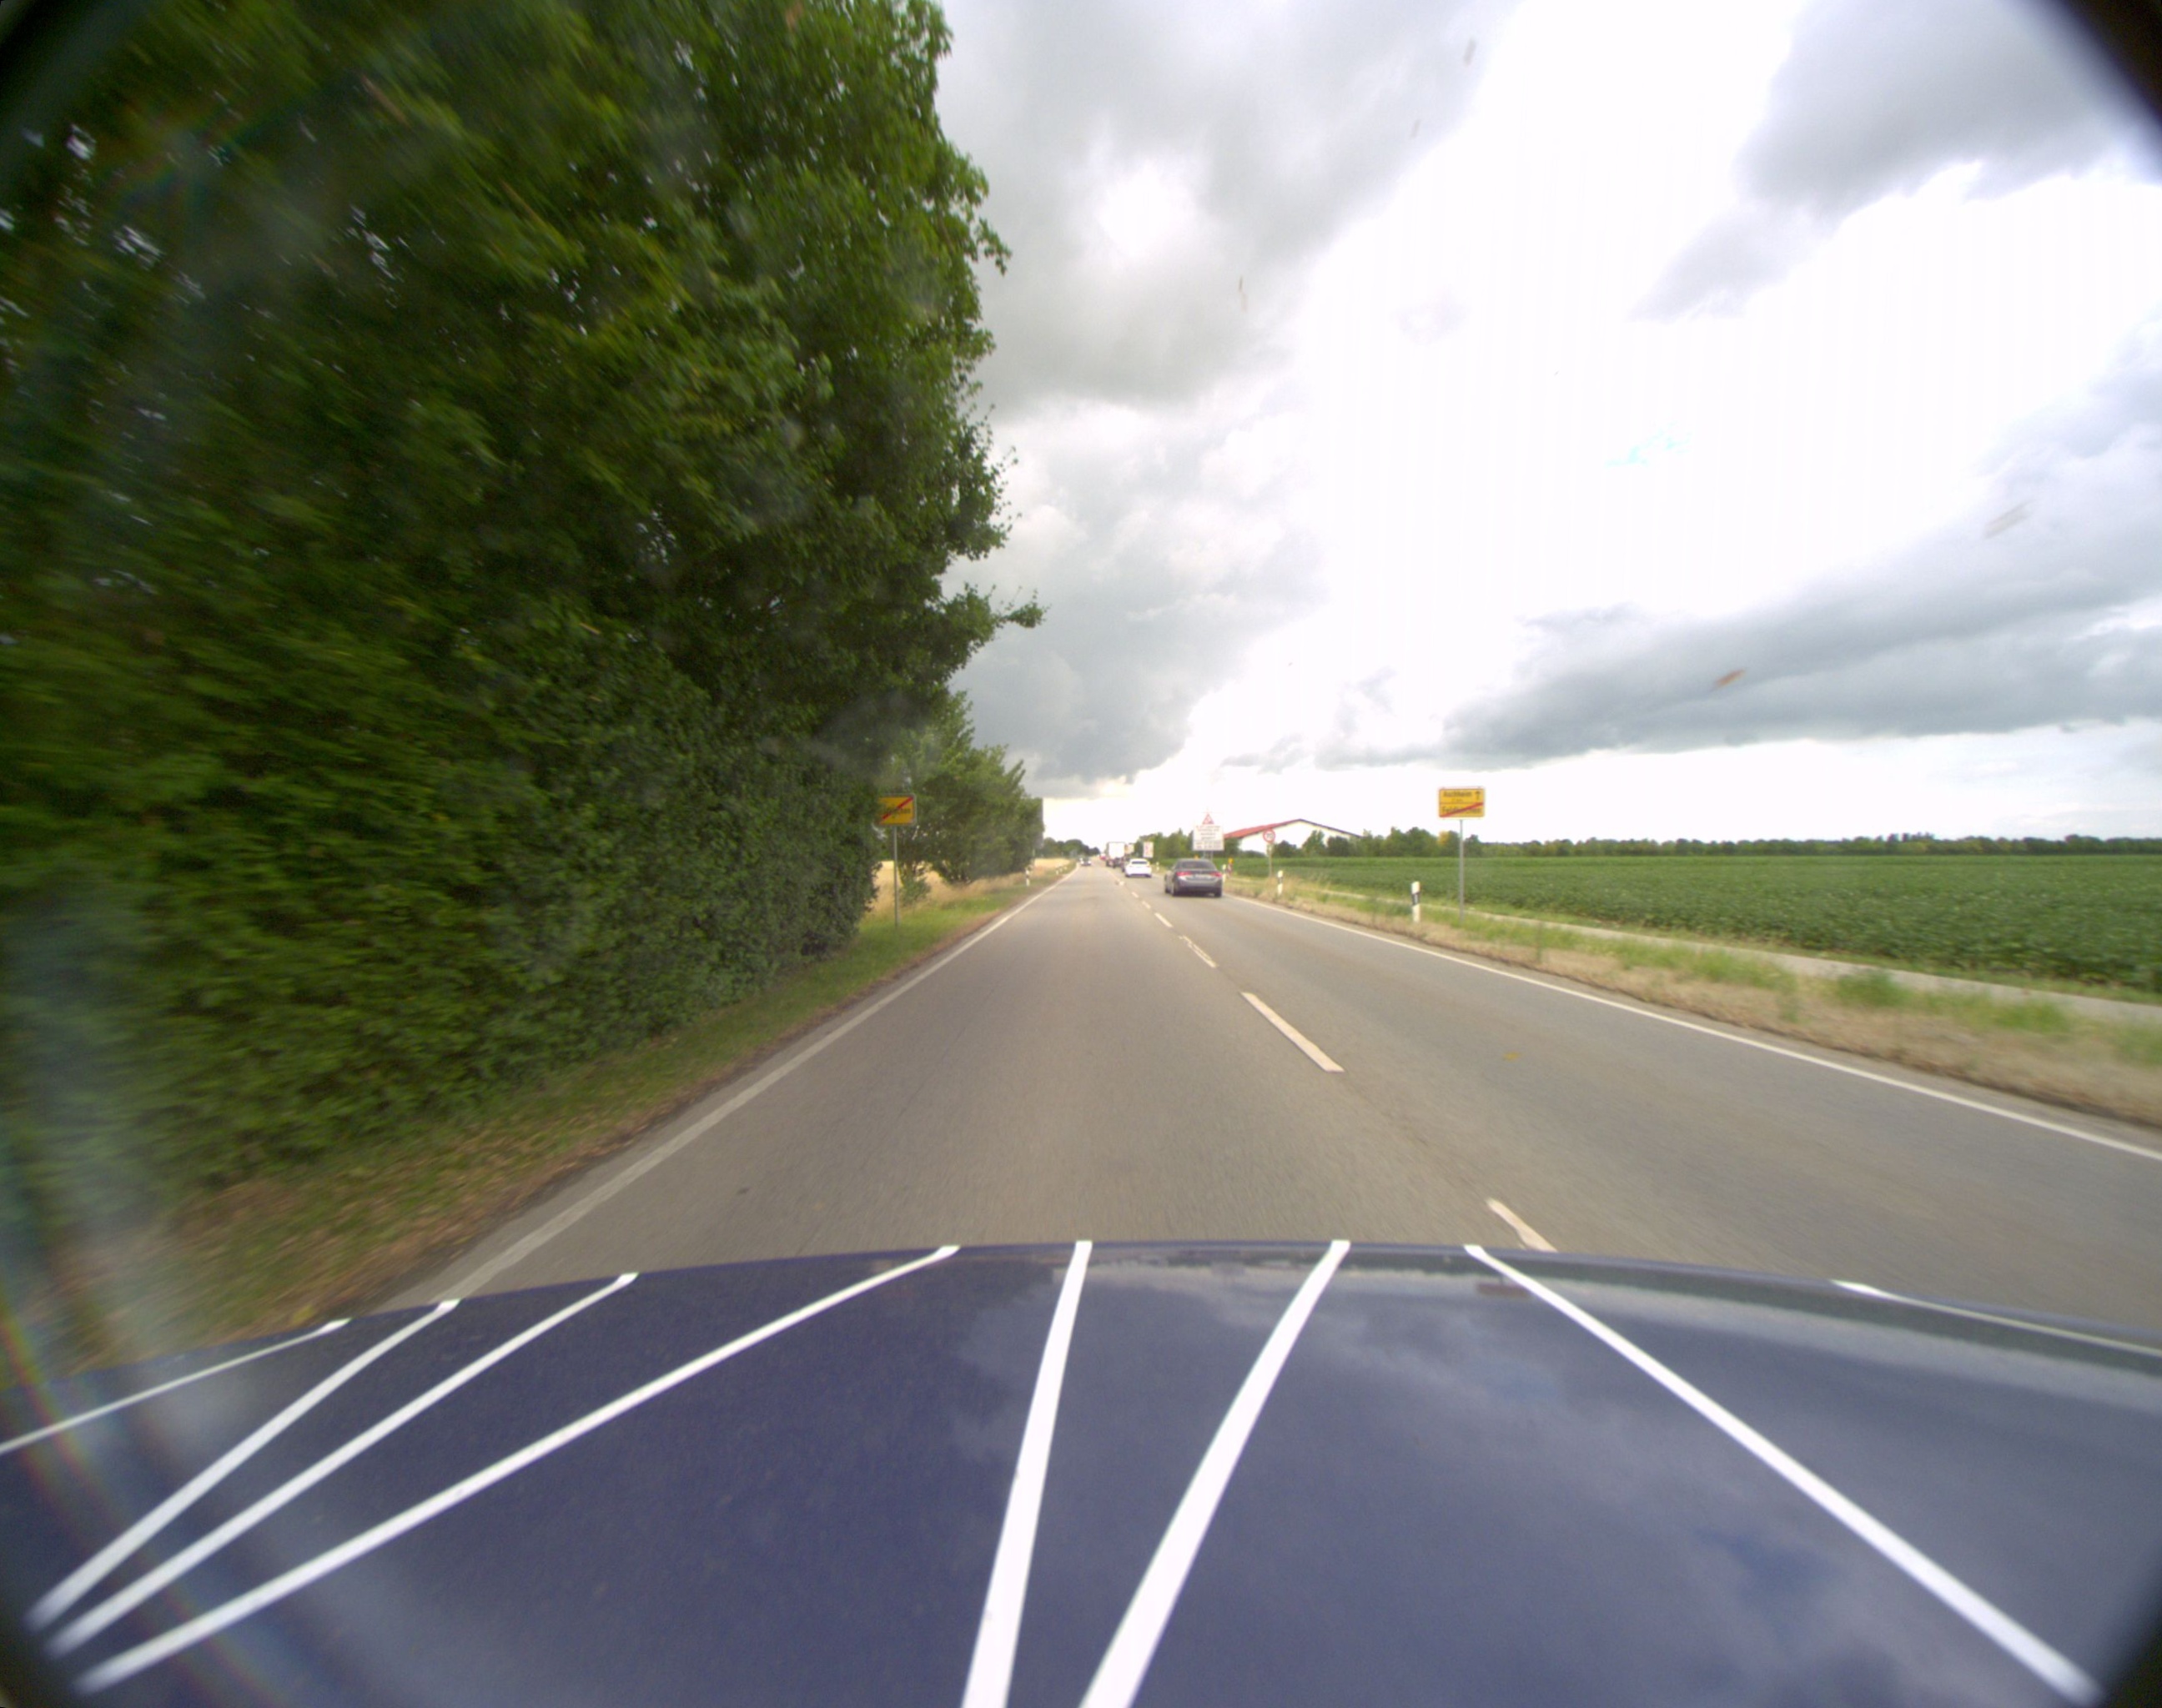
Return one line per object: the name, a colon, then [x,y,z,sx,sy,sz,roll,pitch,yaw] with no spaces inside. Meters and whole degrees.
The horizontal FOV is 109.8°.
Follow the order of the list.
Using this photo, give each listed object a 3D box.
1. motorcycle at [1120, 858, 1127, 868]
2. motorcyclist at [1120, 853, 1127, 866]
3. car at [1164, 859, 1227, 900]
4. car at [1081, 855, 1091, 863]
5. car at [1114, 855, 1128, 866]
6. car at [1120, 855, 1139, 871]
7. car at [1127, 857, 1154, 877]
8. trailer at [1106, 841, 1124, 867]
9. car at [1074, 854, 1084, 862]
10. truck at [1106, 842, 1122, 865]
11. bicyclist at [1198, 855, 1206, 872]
motorcycle: [5.277,1.074,94.129,0.799,1.151,2.620,0,0,1]
motorcyclist: [5.280,0.661,94.121,0.799,1.564,1.078,0,1,1]
car: [4.429,0.951,30.050,1.857,1.456,4.370,0,0,1]
car: [0.902,0.894,136.995,1.869,1.352,3.826,0,0,0]
car: [5.554,0.901,105.584,1.733,1.577,4.504,0,0,1]
car: [4.982,0.909,78.137,1.708,1.531,4.301,1,0,1]
car: [4.515,0.984,58.010,1.777,1.365,4.100,1,0,1]
trailer: [5.694,-0.077,127.516,2.641,4.096,13.767,0,0,1]
car: [-0.350,0.818,145.078,1.777,1.407,4.080,1,0,1]
truck: [5.800,-0.096,134.320,2.658,4.097,6.023,0,0,1]
bicyclist: [11.684,0.921,73.183,0.530,1.575,1.223,1,1,1]
